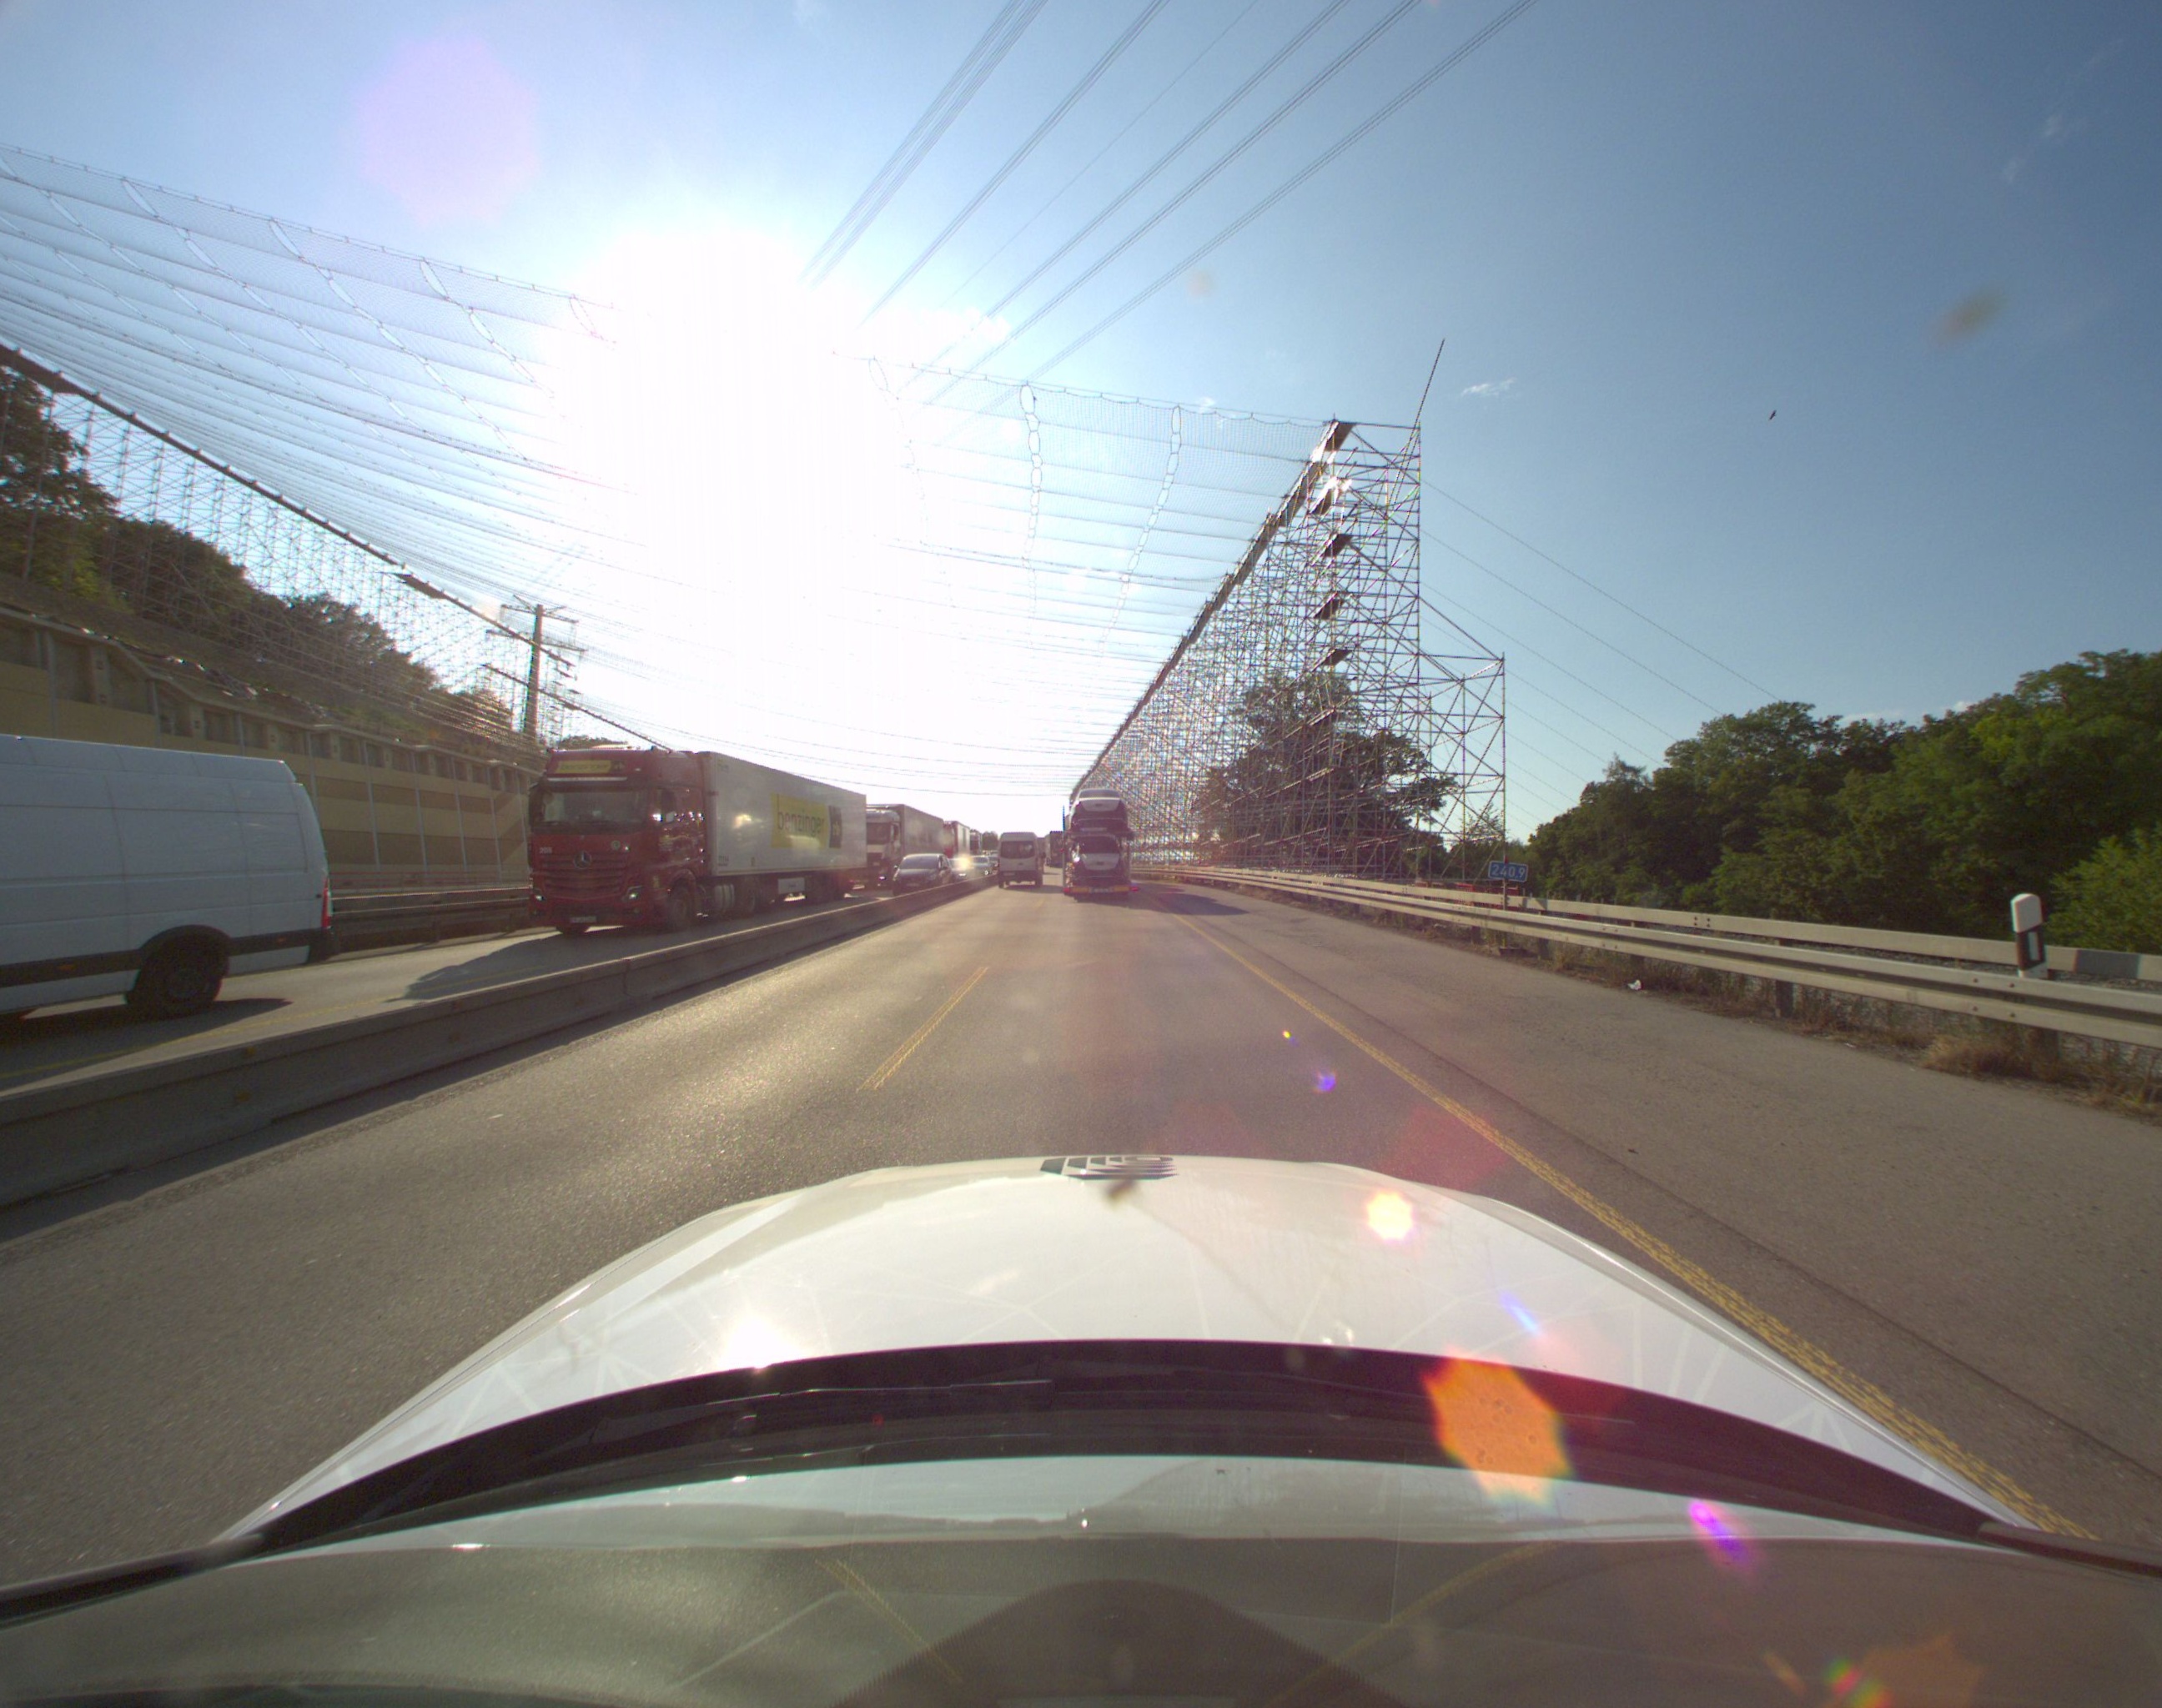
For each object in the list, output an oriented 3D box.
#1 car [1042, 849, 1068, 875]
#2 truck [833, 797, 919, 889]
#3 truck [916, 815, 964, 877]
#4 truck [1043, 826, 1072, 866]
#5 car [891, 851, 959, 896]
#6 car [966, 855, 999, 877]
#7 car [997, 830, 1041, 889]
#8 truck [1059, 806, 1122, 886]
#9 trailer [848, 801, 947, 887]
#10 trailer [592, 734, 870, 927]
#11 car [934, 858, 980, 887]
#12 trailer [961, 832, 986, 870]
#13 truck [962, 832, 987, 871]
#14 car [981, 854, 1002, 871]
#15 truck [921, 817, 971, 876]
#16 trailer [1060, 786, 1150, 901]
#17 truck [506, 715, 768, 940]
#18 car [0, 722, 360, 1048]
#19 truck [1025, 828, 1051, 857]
[{"bbox_3d":[-2.068,0.617,65.903,1.987,2.014,3.999,0,-1,0],"label":"car"},{"bbox_3d":[-9.832,-0.485,39.618,2.780,4.141,5.929,-1,0,-2],"label":"truck"},{"bbox_3d":[-10.068,-0.533,58.867,2.783,4.141,6.668,-1,0,-5],"label":"truck"},{"bbox_3d":[-2.810,-0.903,94.045,2.727,4.385,11.501,0,0,-5],"label":"truck"},{"bbox_3d":[-6.230,0.730,33.041,1.746,1.657,4.862,-1,0,0],"label":"car"},{"bbox_3d":[-6.833,0.833,57.001,1.727,1.439,4.835,2,0,-1],"label":"car"},{"bbox_3d":[-2.963,0.261,39.154,1.953,2.621,3.994,-1,-1,-4],"label":"car"},{"bbox_3d":[0.363,-0.372,41.736,2.874,3.702,7.320,-1,0,-2],"label":"truck"},{"bbox_3d":[-10.007,-0.448,46.376,2.791,4.141,13.957,-1,0,-1],"label":"trailer"},{"bbox_3d":[-9.743,-0.511,25.411,2.757,4.334,13.876,-1,0,-1],"label":"trailer"},{"bbox_3d":[-6.449,0.909,42.740,1.726,1.377,4.889,1,0,-1],"label":"car"},{"bbox_3d":[-12.983,-0.365,99.151,2.650,4.233,13.889,0,0,-6],"label":"trailer"},{"bbox_3d":[-12.068,-0.278,92.518,2.660,4.230,6.089,-1,0,-7],"label":"truck"},{"bbox_3d":[-7.890,0.702,72.198,1.647,1.464,4.393,1,0,-4],"label":"car"},{"bbox_3d":[-10.599,-0.505,65.300,2.782,4.141,13.784,-1,0,-5],"label":"truck"},{"bbox_3d":[0.598,-0.324,34.132,2.861,3.725,14.936,-1,0,-2],"label":"trailer"},{"bbox_3d":[-9.690,-0.508,18.660,2.737,4.300,5.931,-1,0,-1],"label":"truck"},{"bbox_3d":[-9.936,0.258,6.545,2.015,2.690,6.950,0,1,1],"label":"car"},{"bbox_3d":[-7.073,-1.747,132.669,3.680,4.220,13.648,-4,0,-4],"label":"truck"}]
